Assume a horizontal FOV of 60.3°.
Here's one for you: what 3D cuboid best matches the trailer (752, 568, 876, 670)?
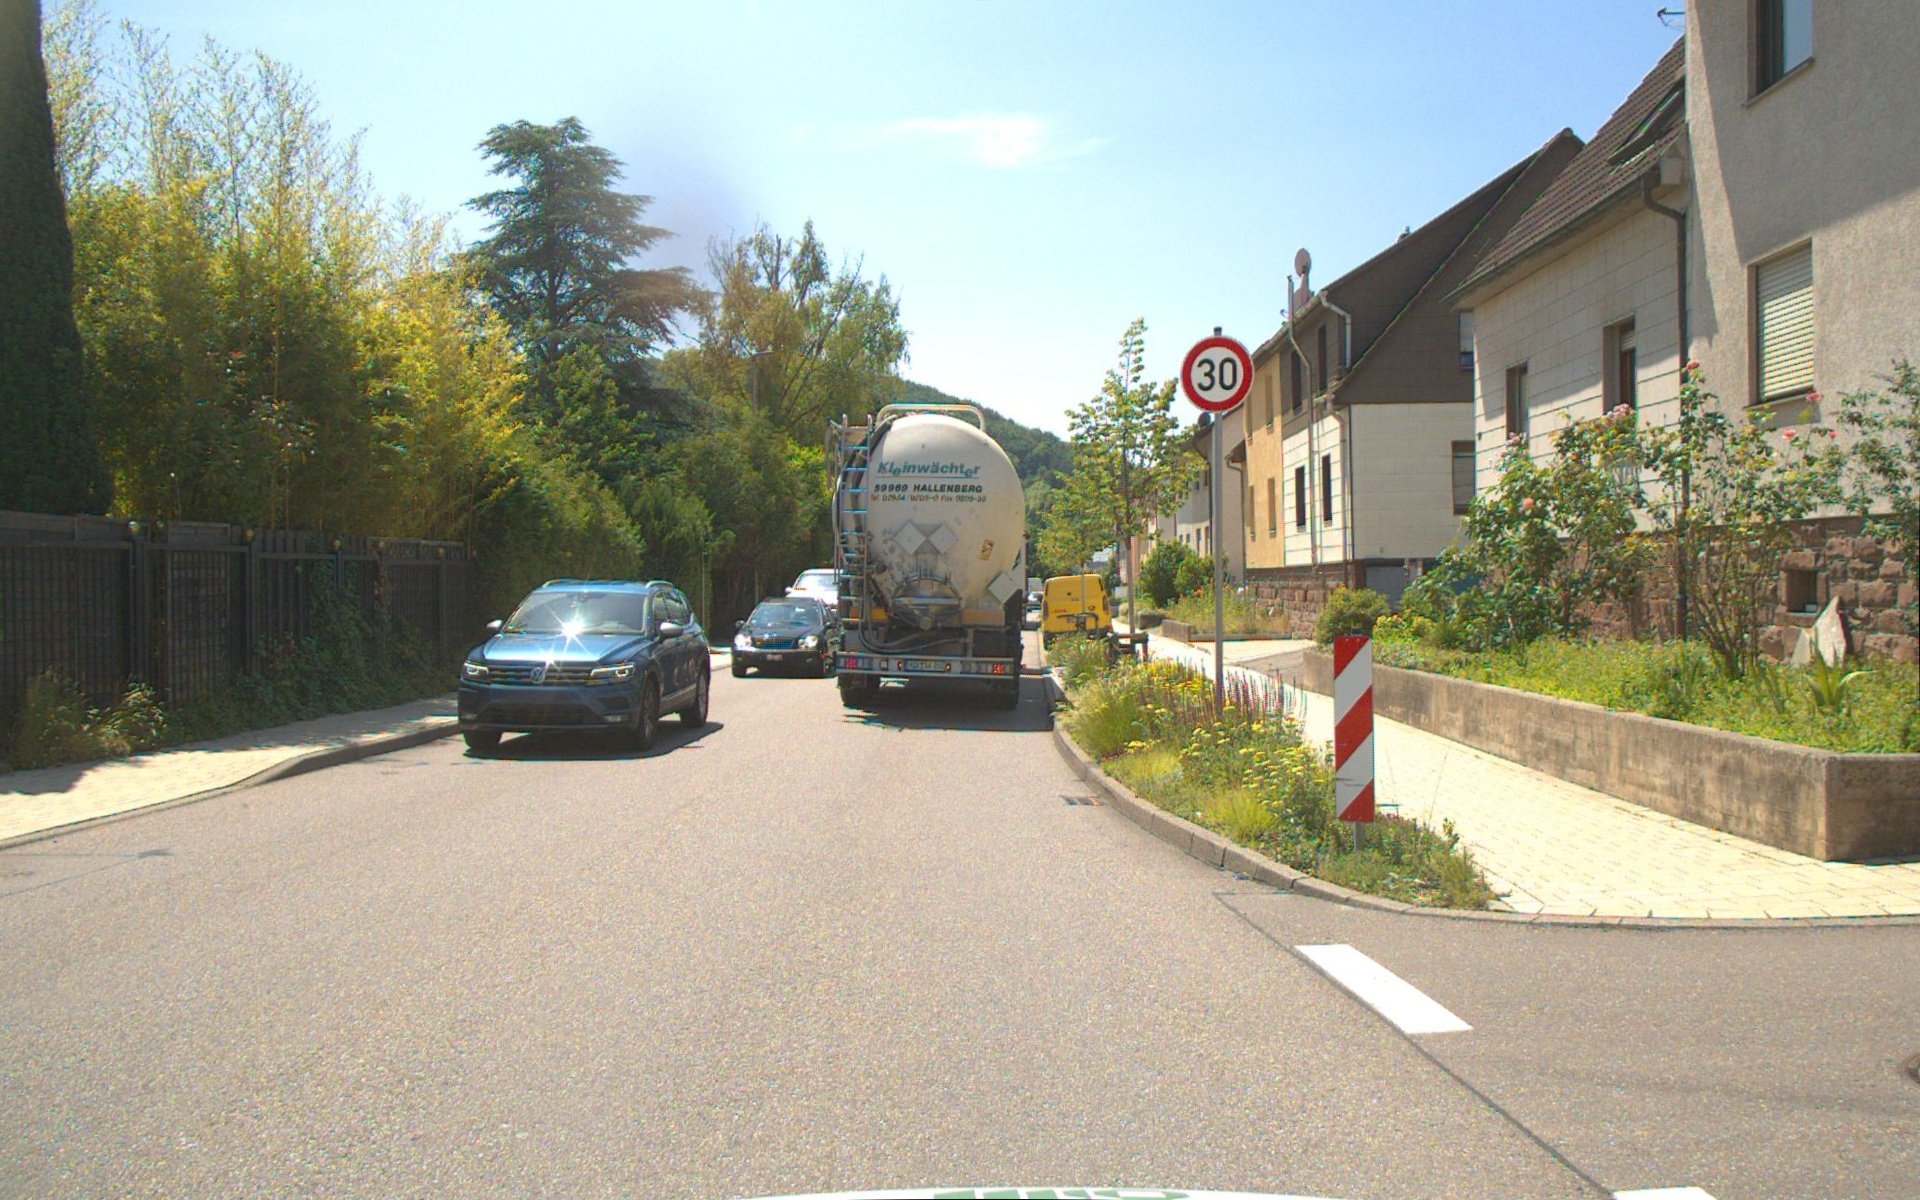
[{"bbox_3d":[-3.136,0.416,36.815,2.111,2.021,6.201,1,-1,0],"label":"trailer"}]

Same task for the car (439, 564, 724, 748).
[{"bbox_3d":[-3.843,0.539,17.661,1.849,1.674,4.614,1,-1,1],"label":"car"}]

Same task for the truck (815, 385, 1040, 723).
[{"bbox_3d":[-0.142,-0.608,25.661,2.692,4.127,10.894,0,0,3],"label":"truck"}]

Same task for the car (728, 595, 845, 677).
[{"bbox_3d":[-3.232,0.665,31.549,1.730,1.427,4.247,1,-1,0],"label":"car"}]

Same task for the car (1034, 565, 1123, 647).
[{"bbox_3d":[3.349,0.197,47.766,2.145,2.048,5.623,-5,-1,1],"label":"car"}]
